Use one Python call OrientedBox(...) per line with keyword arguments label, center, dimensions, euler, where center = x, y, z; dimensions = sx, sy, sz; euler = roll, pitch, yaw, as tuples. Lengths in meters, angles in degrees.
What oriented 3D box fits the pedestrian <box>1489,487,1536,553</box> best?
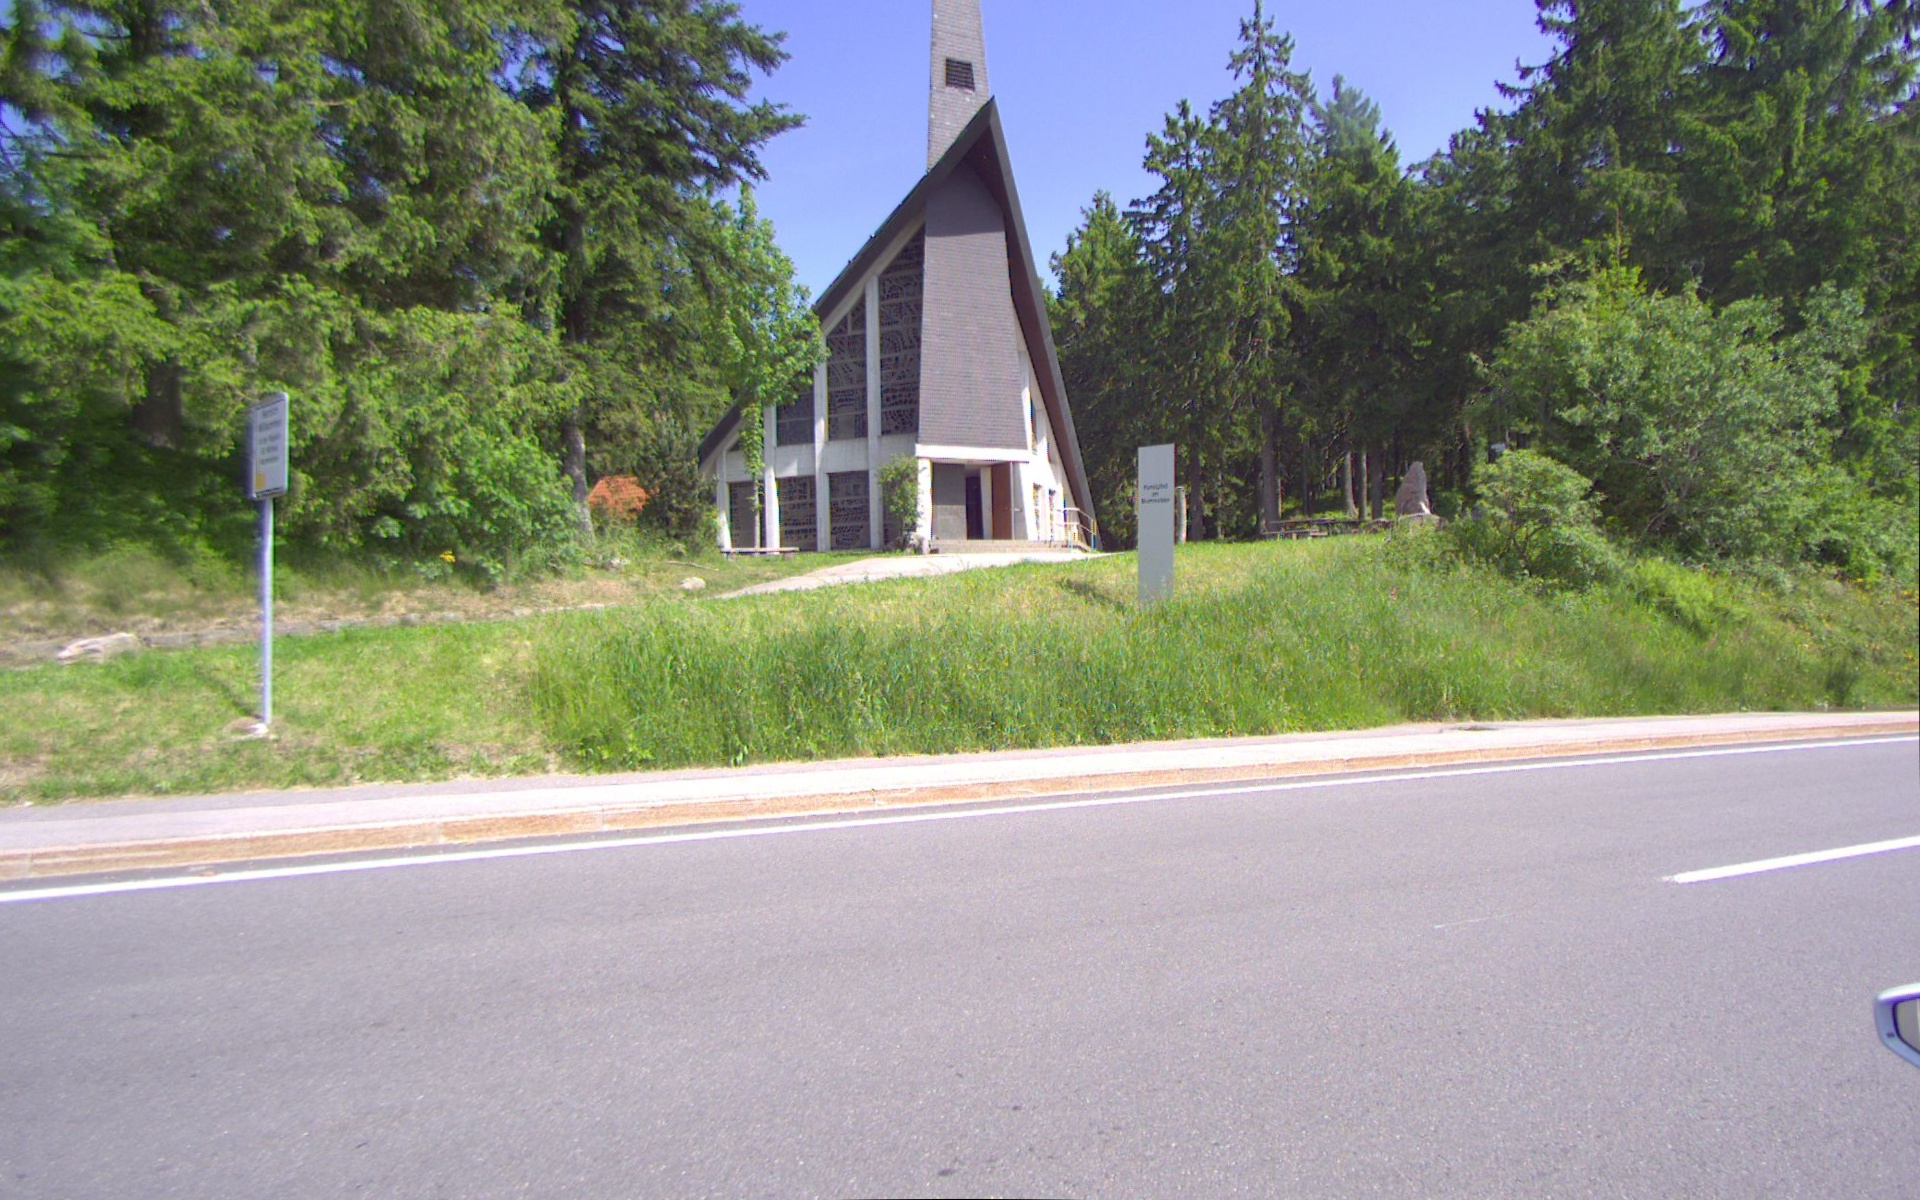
OrientedBox(label="pedestrian", center=(14.719, -2.118, 26.757), dimensions=(0.733, 1.651, 0.805), euler=(1, 0, -29))
